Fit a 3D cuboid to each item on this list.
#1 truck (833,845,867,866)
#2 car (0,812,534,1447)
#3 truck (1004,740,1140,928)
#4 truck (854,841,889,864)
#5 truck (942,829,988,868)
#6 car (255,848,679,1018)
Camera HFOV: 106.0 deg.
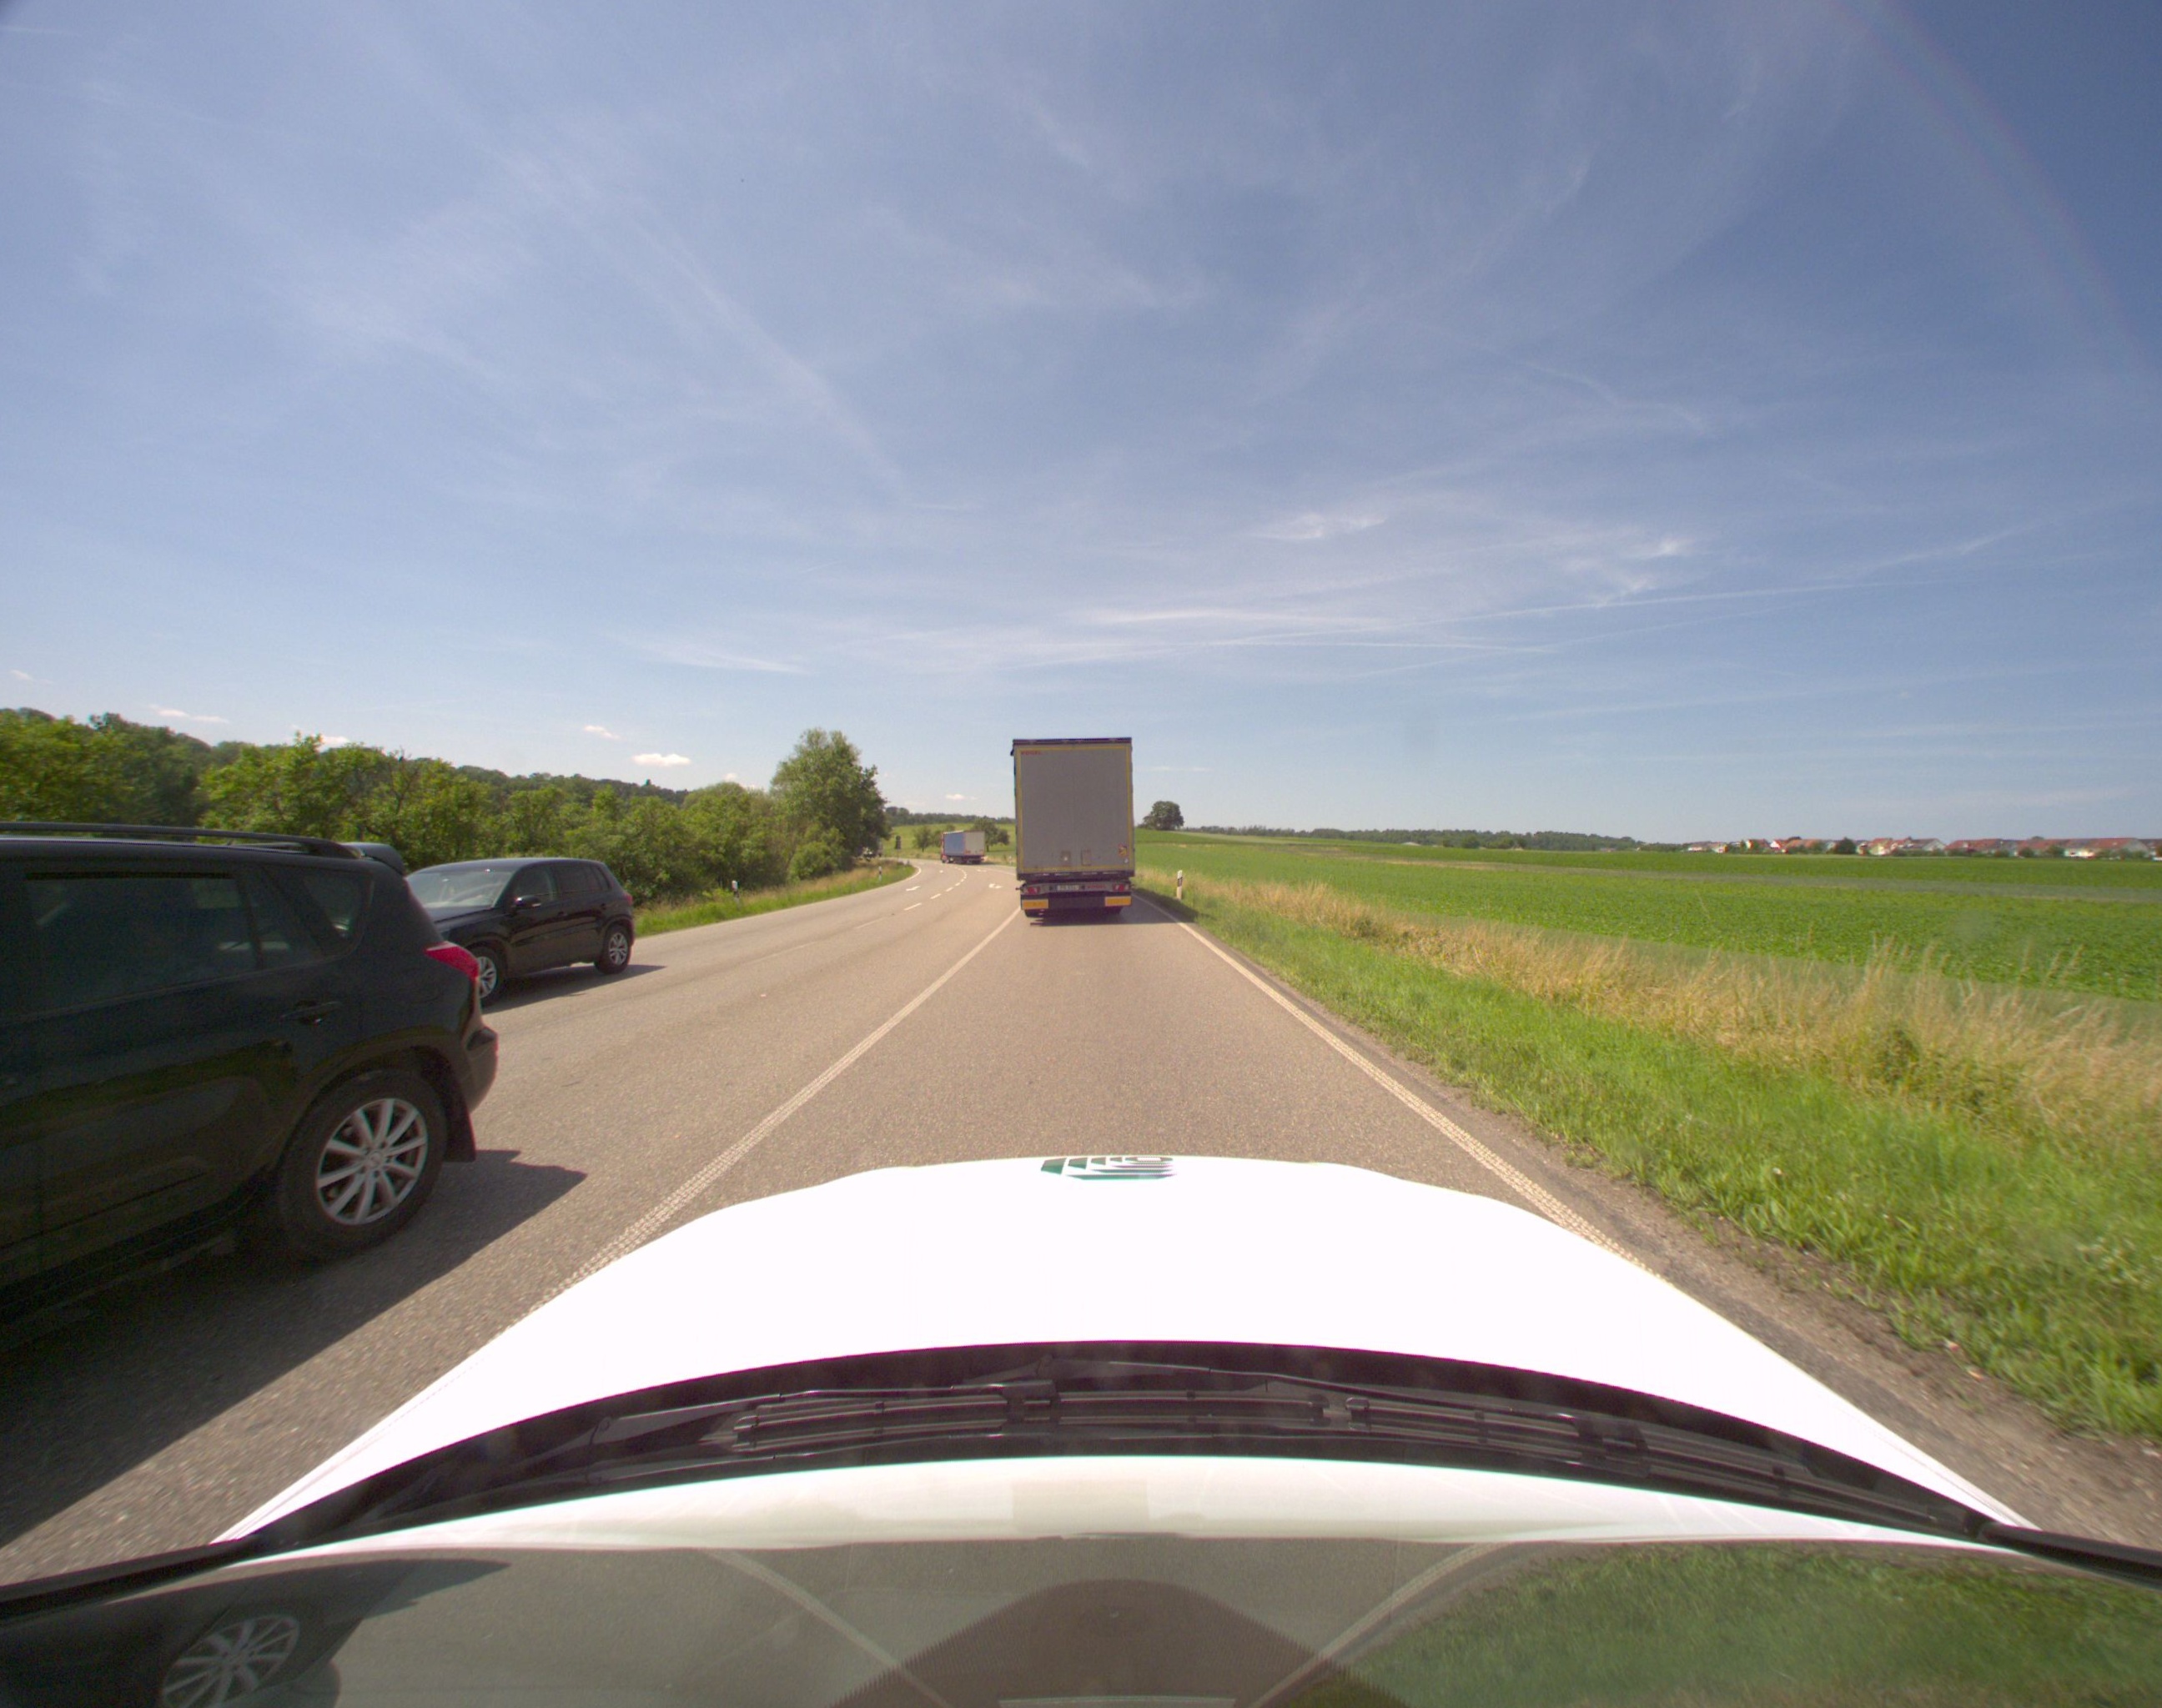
[{"bbox_3d":[-49.221,0.458,173.415,3.552,4.241,13.271,2,-2,-31],"label":"truck"},{"bbox_3d":[-3.716,0.729,2.113,1.764,1.658,4.002,-1,-1,2],"label":"car"},{"bbox_3d":[-0.436,-0.430,22.049,2.802,3.946,9.579,-1,0,-3],"label":"truck"},{"bbox_3d":[-41.090,-0.248,159.446,3.658,4.130,12.976,2,-2,-28],"label":"truck"},{"bbox_3d":[-14.785,-0.550,102.216,2.969,4.584,16.215,0,-1,-18],"label":"truck"},{"bbox_3d":[-7.229,0.831,10.237,1.983,1.696,4.008,-1,-1,7],"label":"car"}]
